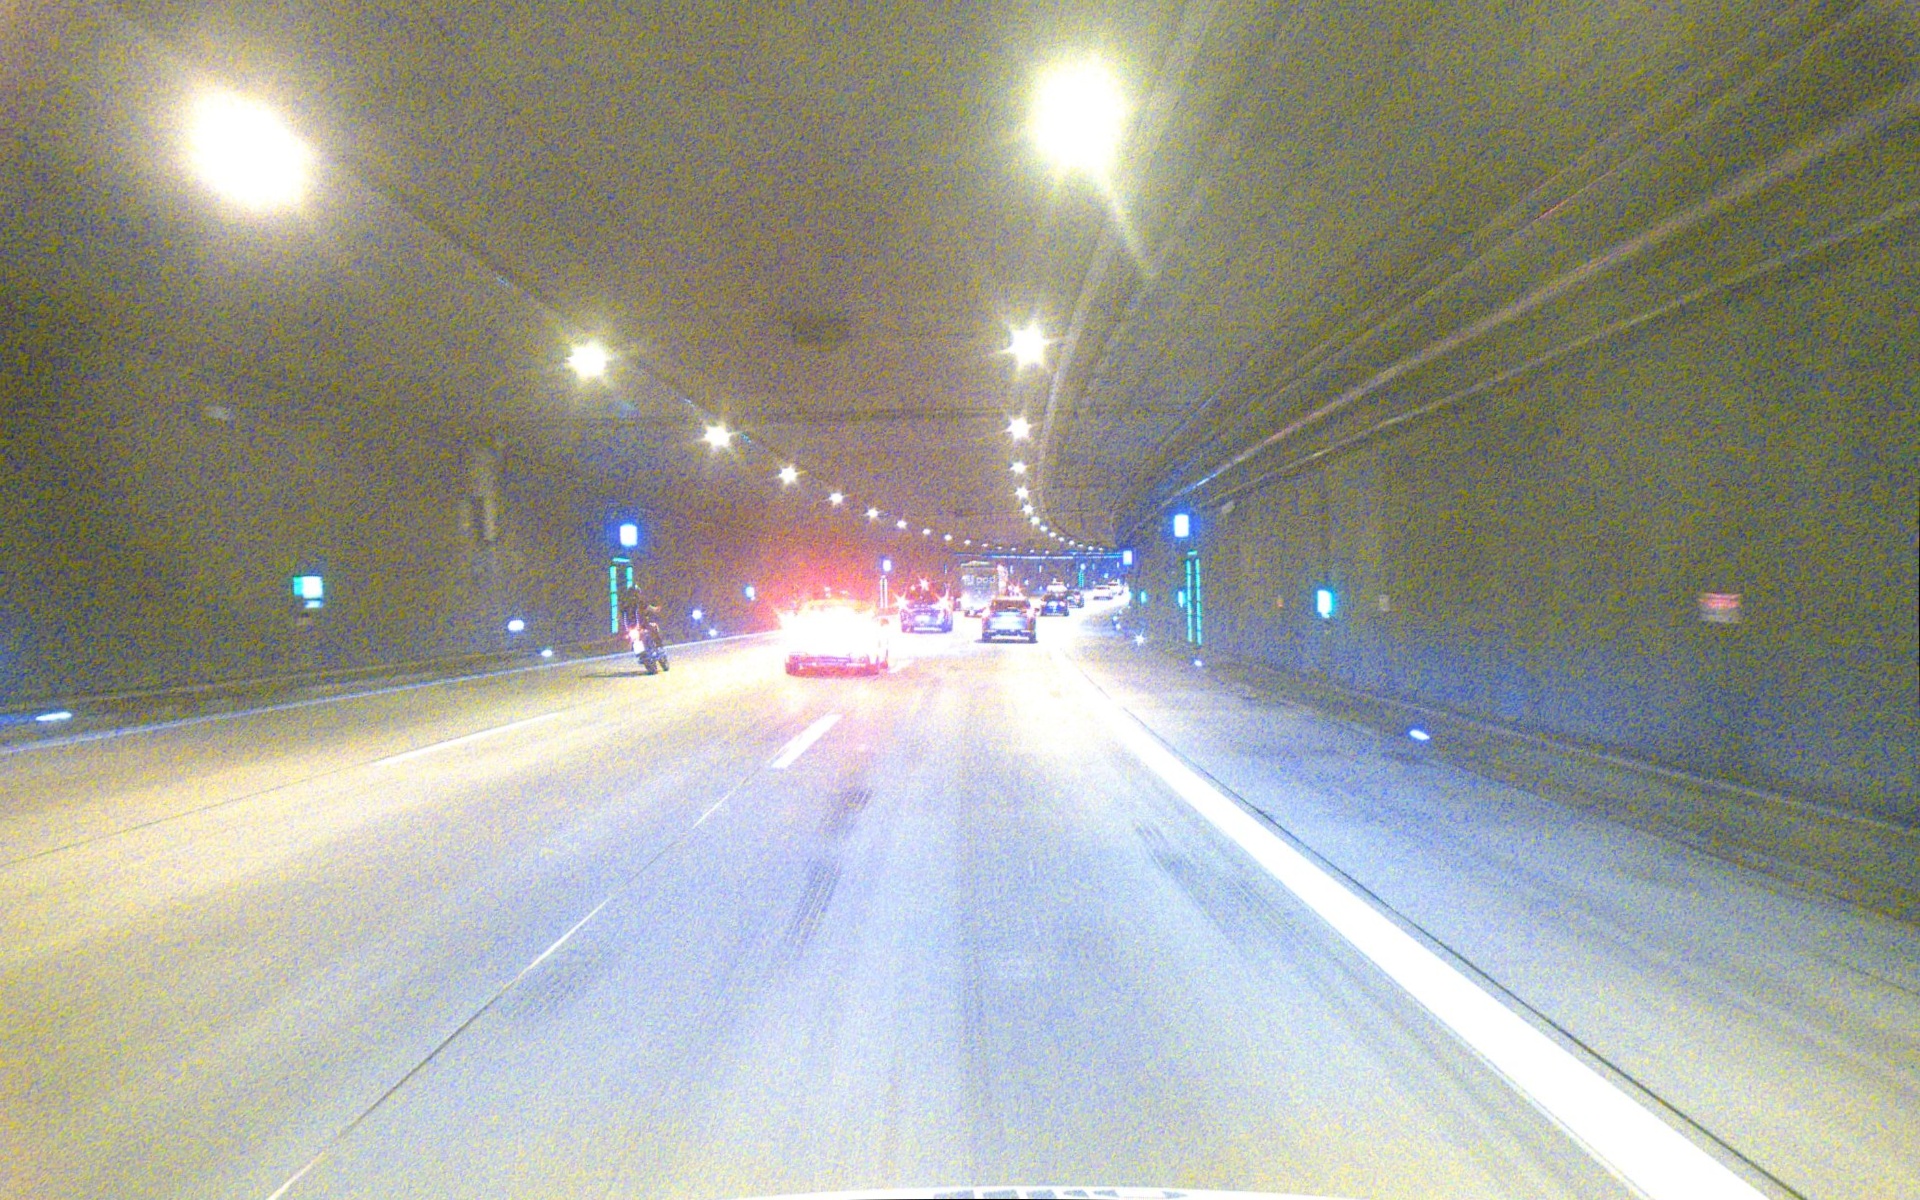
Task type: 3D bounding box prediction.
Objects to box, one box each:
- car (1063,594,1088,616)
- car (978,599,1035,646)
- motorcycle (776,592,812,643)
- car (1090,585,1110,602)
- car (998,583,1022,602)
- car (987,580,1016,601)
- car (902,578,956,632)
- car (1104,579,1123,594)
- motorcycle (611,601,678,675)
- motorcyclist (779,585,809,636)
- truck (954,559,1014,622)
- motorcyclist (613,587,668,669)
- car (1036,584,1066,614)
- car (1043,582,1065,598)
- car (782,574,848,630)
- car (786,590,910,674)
[{"bbox_3d":[9.438,0.416,135.100,1.909,1.803,4.003,1,0,6],"label":"car"},{"bbox_3d":[1.574,0.744,54.824,1.705,1.490,3.873,1,-1,4],"label":"car"},{"bbox_3d":[-4.989,0.500,49.537,0.909,1.459,2.958,1,0,-8],"label":"motorcycle"},{"bbox_3d":[14.521,-0.701,171.557,1.889,1.671,4.003,1,0,8],"label":"car"},{"bbox_3d":[4.588,-0.686,150.283,1.889,1.671,4.003,1,0,6],"label":"car"},{"bbox_3d":[3.386,-0.751,133.593,1.951,1.660,4.003,1,1,7],"label":"car"},{"bbox_3d":[-1.216,0.177,65.835,1.869,1.978,3.874,0,2,3],"label":"car"},{"bbox_3d":[17.877,-1.539,192.540,1.951,1.660,4.003,1,0,8],"label":"car"},{"bbox_3d":[-5.816,0.676,30.595,0.668,1.319,2.399,0,0,3],"label":"motorcycle"},{"bbox_3d":[-4.990,0.313,49.557,0.791,1.473,1.861,1,-1,-9],"label":"motorcyclist"},{"bbox_3d":[1.551,-0.571,102.439,2.974,3.737,7.398,1,0,7],"label":"truck"},{"bbox_3d":[-5.889,0.519,30.559,0.761,1.478,1.069,1,0,2],"label":"motorcyclist"},{"bbox_3d":[5.897,-0.053,106.833,1.818,1.887,4.002,1,0,5],"label":"car"},{"bbox_3d":[10.513,-1.140,184.082,1.889,1.671,4.003,1,0,11],"label":"car"},{"bbox_3d":[-5.563,0.074,63.962,1.952,2.049,4.002,1,0,4],"label":"car"},{"bbox_3d":[-2.129,0.563,32.723,1.666,1.443,5.064,0,1,5],"label":"car"}]
